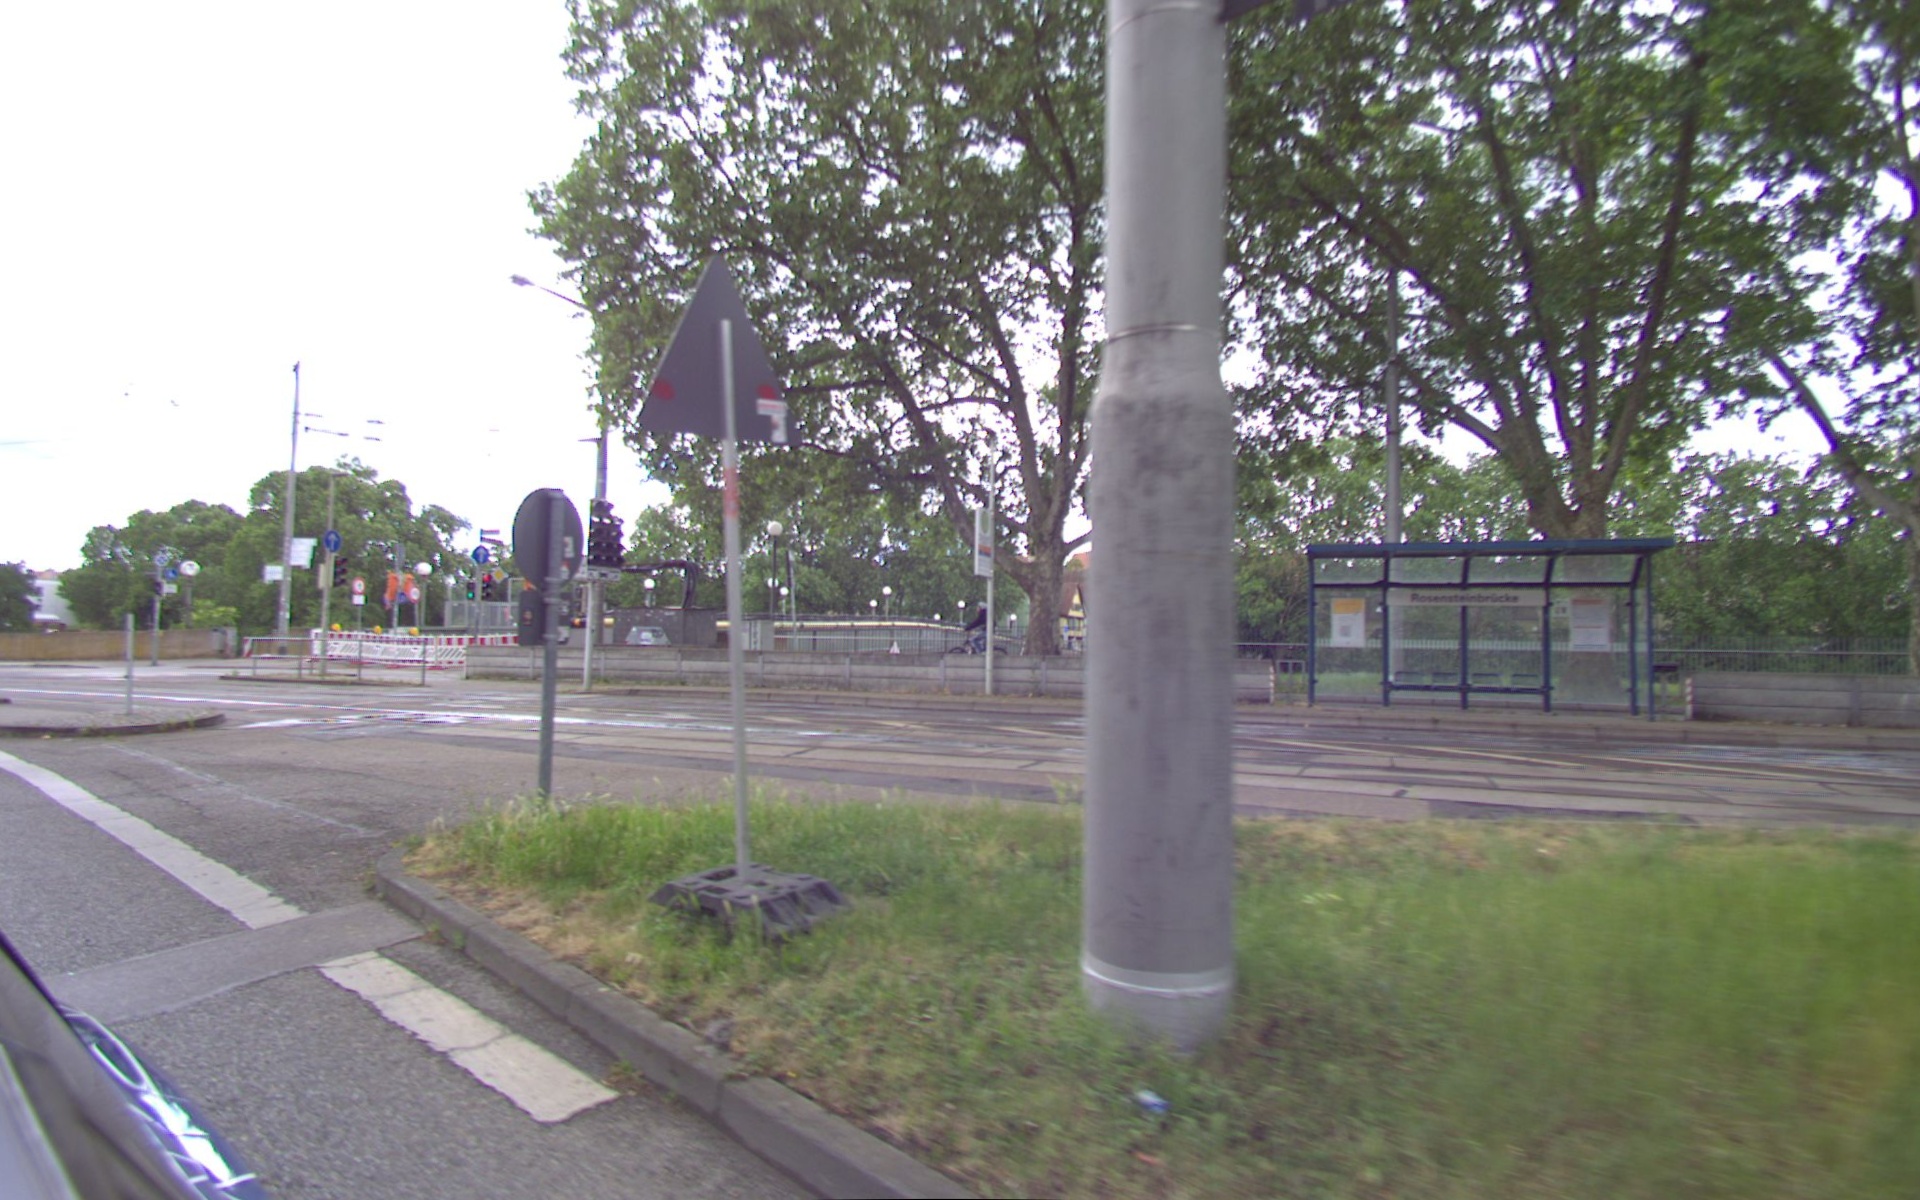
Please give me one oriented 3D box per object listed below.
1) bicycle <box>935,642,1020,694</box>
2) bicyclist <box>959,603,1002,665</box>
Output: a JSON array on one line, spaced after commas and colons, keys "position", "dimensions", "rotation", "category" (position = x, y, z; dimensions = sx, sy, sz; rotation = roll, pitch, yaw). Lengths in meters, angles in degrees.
[{"position": [0.470, 1.842, 27.649], "dimensions": [2.252, 1.287, 0.685], "rotation": [1, 1, 25], "category": "bicycle"}, {"position": [0.566, 0.914, 27.603], "dimensions": [1.002, 1.663, 0.637], "rotation": [0, 1, 25], "category": "bicyclist"}]
